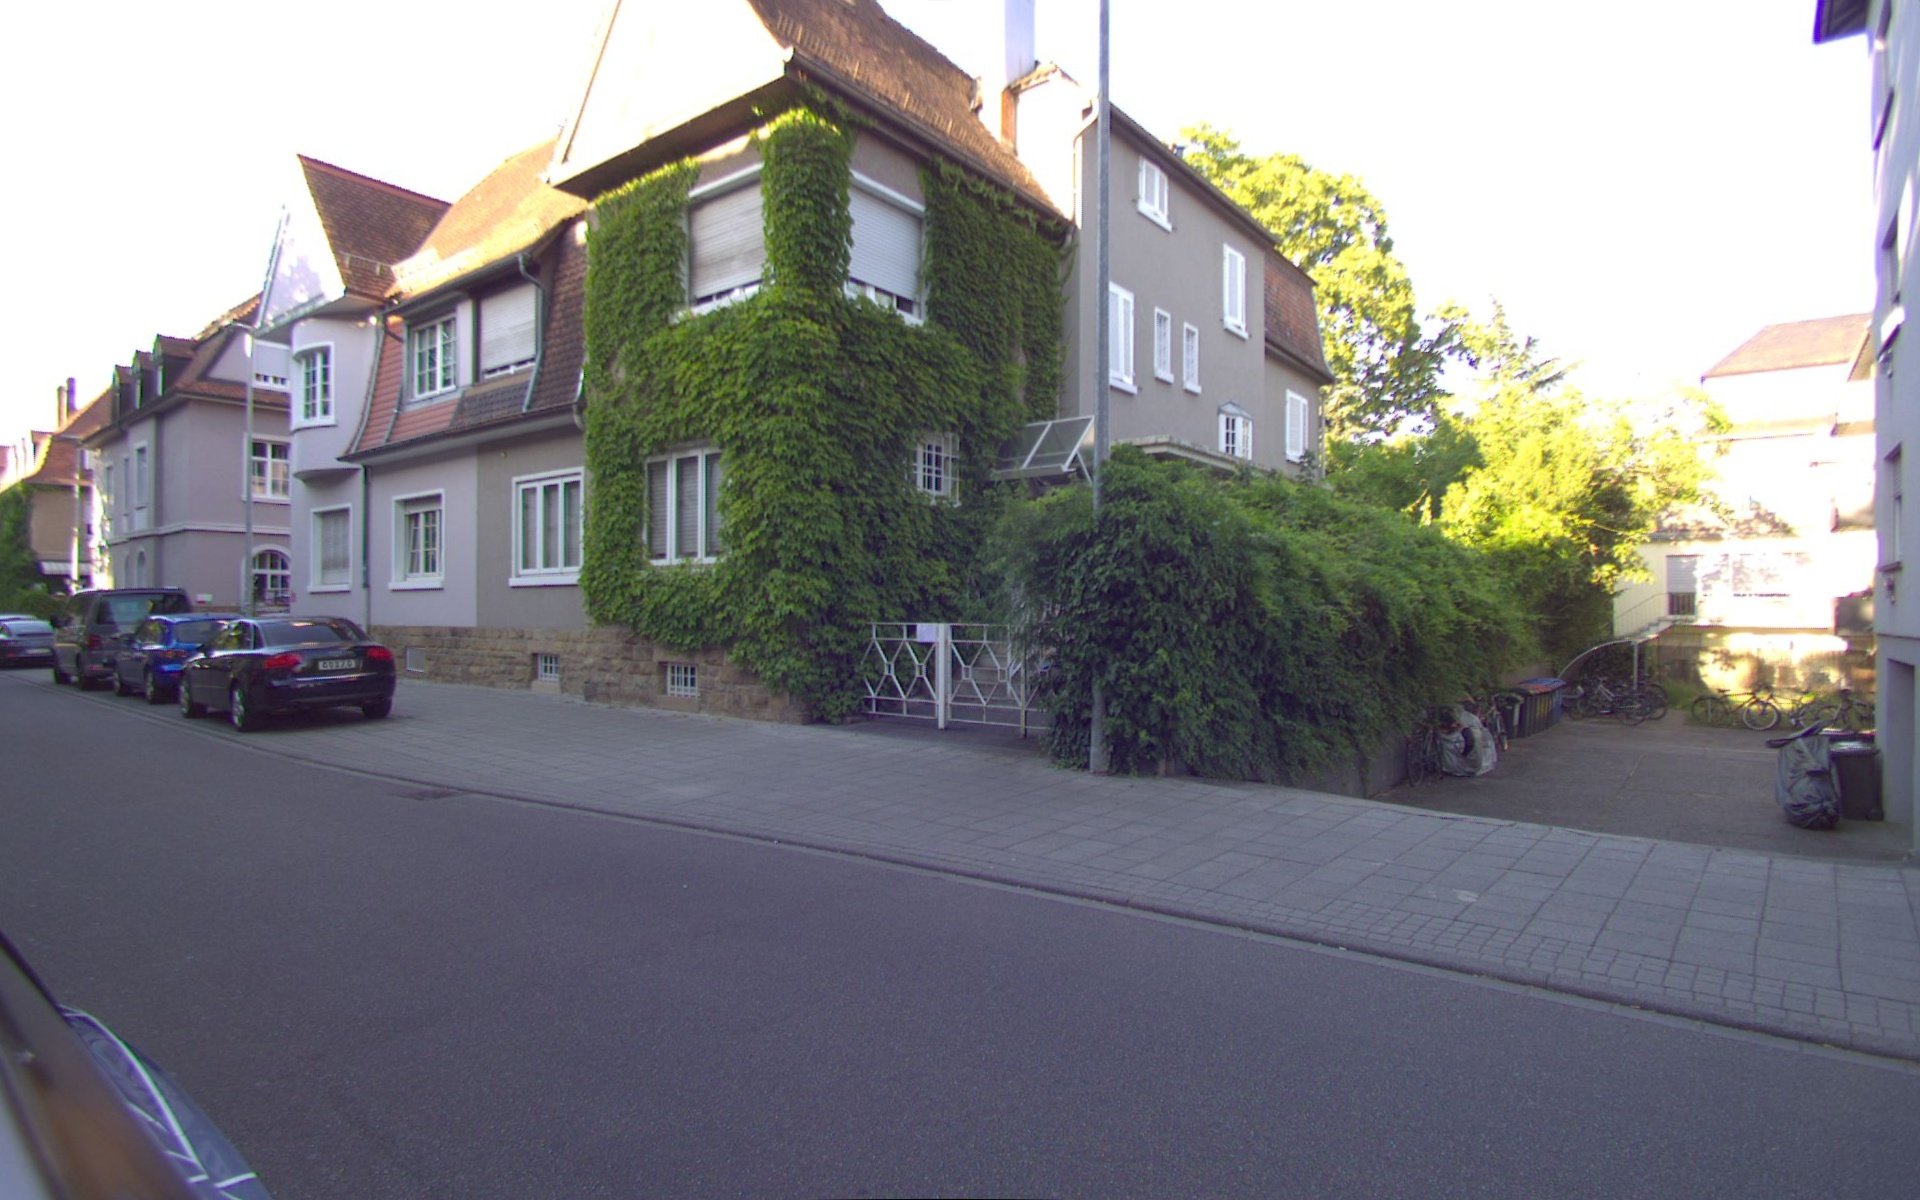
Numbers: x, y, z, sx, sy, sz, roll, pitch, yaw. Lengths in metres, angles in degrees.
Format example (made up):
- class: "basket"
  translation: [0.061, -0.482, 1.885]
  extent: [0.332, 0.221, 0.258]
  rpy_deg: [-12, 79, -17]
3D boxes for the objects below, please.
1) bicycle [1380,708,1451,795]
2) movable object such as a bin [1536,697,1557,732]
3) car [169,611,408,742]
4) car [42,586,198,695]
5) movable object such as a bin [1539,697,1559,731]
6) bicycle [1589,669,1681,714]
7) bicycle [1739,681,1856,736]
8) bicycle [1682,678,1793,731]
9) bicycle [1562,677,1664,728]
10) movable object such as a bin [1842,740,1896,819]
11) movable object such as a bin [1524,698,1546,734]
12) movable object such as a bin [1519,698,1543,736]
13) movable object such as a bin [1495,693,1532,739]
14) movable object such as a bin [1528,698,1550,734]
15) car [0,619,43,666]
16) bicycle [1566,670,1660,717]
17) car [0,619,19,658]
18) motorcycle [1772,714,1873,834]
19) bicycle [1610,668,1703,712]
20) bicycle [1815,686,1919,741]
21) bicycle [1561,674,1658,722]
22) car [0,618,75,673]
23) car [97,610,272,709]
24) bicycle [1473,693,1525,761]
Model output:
- class: "bicycle"
  translation: [6.827, 2.219, 15.118]
  extent: [0.514, 1.027, 1.914]
  rpy_deg: [1, 0, 38]
- class: "movable object such as a bin"
  translation: [13.536, 2.636, 23.360]
  extent: [0.367, 0.764, 0.359]
  rpy_deg: [-1, -4, 41]
- class: "car"
  translation: [-9.292, 0.923, 13.882]
  extent: [4.023, 1.439, 1.729]
  rpy_deg: [0, 2, 42]
- class: "car"
  translation: [-17.437, 0.748, 20.947]
  extent: [4.308, 1.987, 1.698]
  rpy_deg: [0, 2, 40]
- class: "movable object such as a bin"
  translation: [13.780, 2.667, 23.660]
  extent: [0.346, 0.764, 0.359]
  rpy_deg: [-1, -4, 41]
- class: "bicycle"
  translation: [18.616, 2.508, 27.943]
  extent: [2.068, 1.028, 0.608]
  rpy_deg: [1, 3, 41]
- class: "bicycle"
  translation: [19.553, 2.513, 23.663]
  extent: [2.068, 1.028, 0.634]
  rpy_deg: [1, 3, 41]
- class: "bicycle"
  translation: [18.717, 2.496, 24.400]
  extent: [2.068, 1.028, 0.634]
  rpy_deg: [1, 3, 41]
- class: "bicycle"
  translation: [16.274, 2.538, 25.263]
  extent: [2.068, 1.028, 0.634]
  rpy_deg: [1, 3, 41]
- class: "movable object such as a bin"
  translation: [11.761, 2.304, 13.103]
  extent: [0.432, 0.894, 0.717]
  rpy_deg: [-1, -3, 37]
- class: "movable object such as a bin"
  translation: [12.760, 2.567, 22.457]
  extent: [0.381, 0.779, 0.359]
  rpy_deg: [-1, -4, 41]
- class: "movable object such as a bin"
  translation: [12.500, 2.559, 22.164]
  extent: [0.398, 0.779, 0.359]
  rpy_deg: [-1, -4, 41]
- class: "movable object such as a bin"
  translation: [11.543, 2.414, 21.100]
  extent: [0.576, 0.886, 0.488]
  rpy_deg: [0, -3, 41]
- class: "movable object such as a bin"
  translation: [13.024, 2.601, 22.760]
  extent: [0.375, 0.764, 0.359]
  rpy_deg: [-1, -4, 41]
- class: "car"
  translation: [-30.319, 1.337, 31.926]
  extent: [3.942, 1.381, 1.522]
  rpy_deg: [-1, 0, 40]
- class: "bicycle"
  translation: [17.699, 2.520, 27.477]
  extent: [2.068, 1.028, 0.608]
  rpy_deg: [1, 3, 41]
- class: "car"
  translation: [-36.512, 1.445, 37.670]
  extent: [3.942, 1.381, 1.698]
  rpy_deg: [-1, 0, 40]
- class: "motorcycle"
  translation: [10.722, 2.120, 12.631]
  extent: [0.757, 1.261, 1.575]
  rpy_deg: [-1, -3, 34]
- class: "bicycle"
  translation: [19.418, 2.498, 28.247]
  extent: [2.068, 1.028, 0.561]
  rpy_deg: [1, 3, 41]
- class: "bicycle"
  translation: [20.591, 2.542, 22.742]
  extent: [2.068, 1.028, 0.634]
  rpy_deg: [1, 3, 41]
- class: "bicycle"
  translation: [16.838, 2.531, 26.275]
  extent: [2.068, 1.028, 0.565]
  rpy_deg: [1, 3, 41]
- class: "car"
  translation: [-26.335, 1.233, 28.341]
  extent: [4.331, 1.381, 1.698]
  rpy_deg: [-1, 0, 40]
- class: "car"
  translation: [-13.744, 0.958, 17.863]
  extent: [4.021, 1.475, 1.591]
  rpy_deg: [0, 2, 40]
- class: "bicycle"
  translation: [9.957, 2.306, 18.677]
  extent: [0.514, 1.027, 1.914]
  rpy_deg: [1, 0, 38]
